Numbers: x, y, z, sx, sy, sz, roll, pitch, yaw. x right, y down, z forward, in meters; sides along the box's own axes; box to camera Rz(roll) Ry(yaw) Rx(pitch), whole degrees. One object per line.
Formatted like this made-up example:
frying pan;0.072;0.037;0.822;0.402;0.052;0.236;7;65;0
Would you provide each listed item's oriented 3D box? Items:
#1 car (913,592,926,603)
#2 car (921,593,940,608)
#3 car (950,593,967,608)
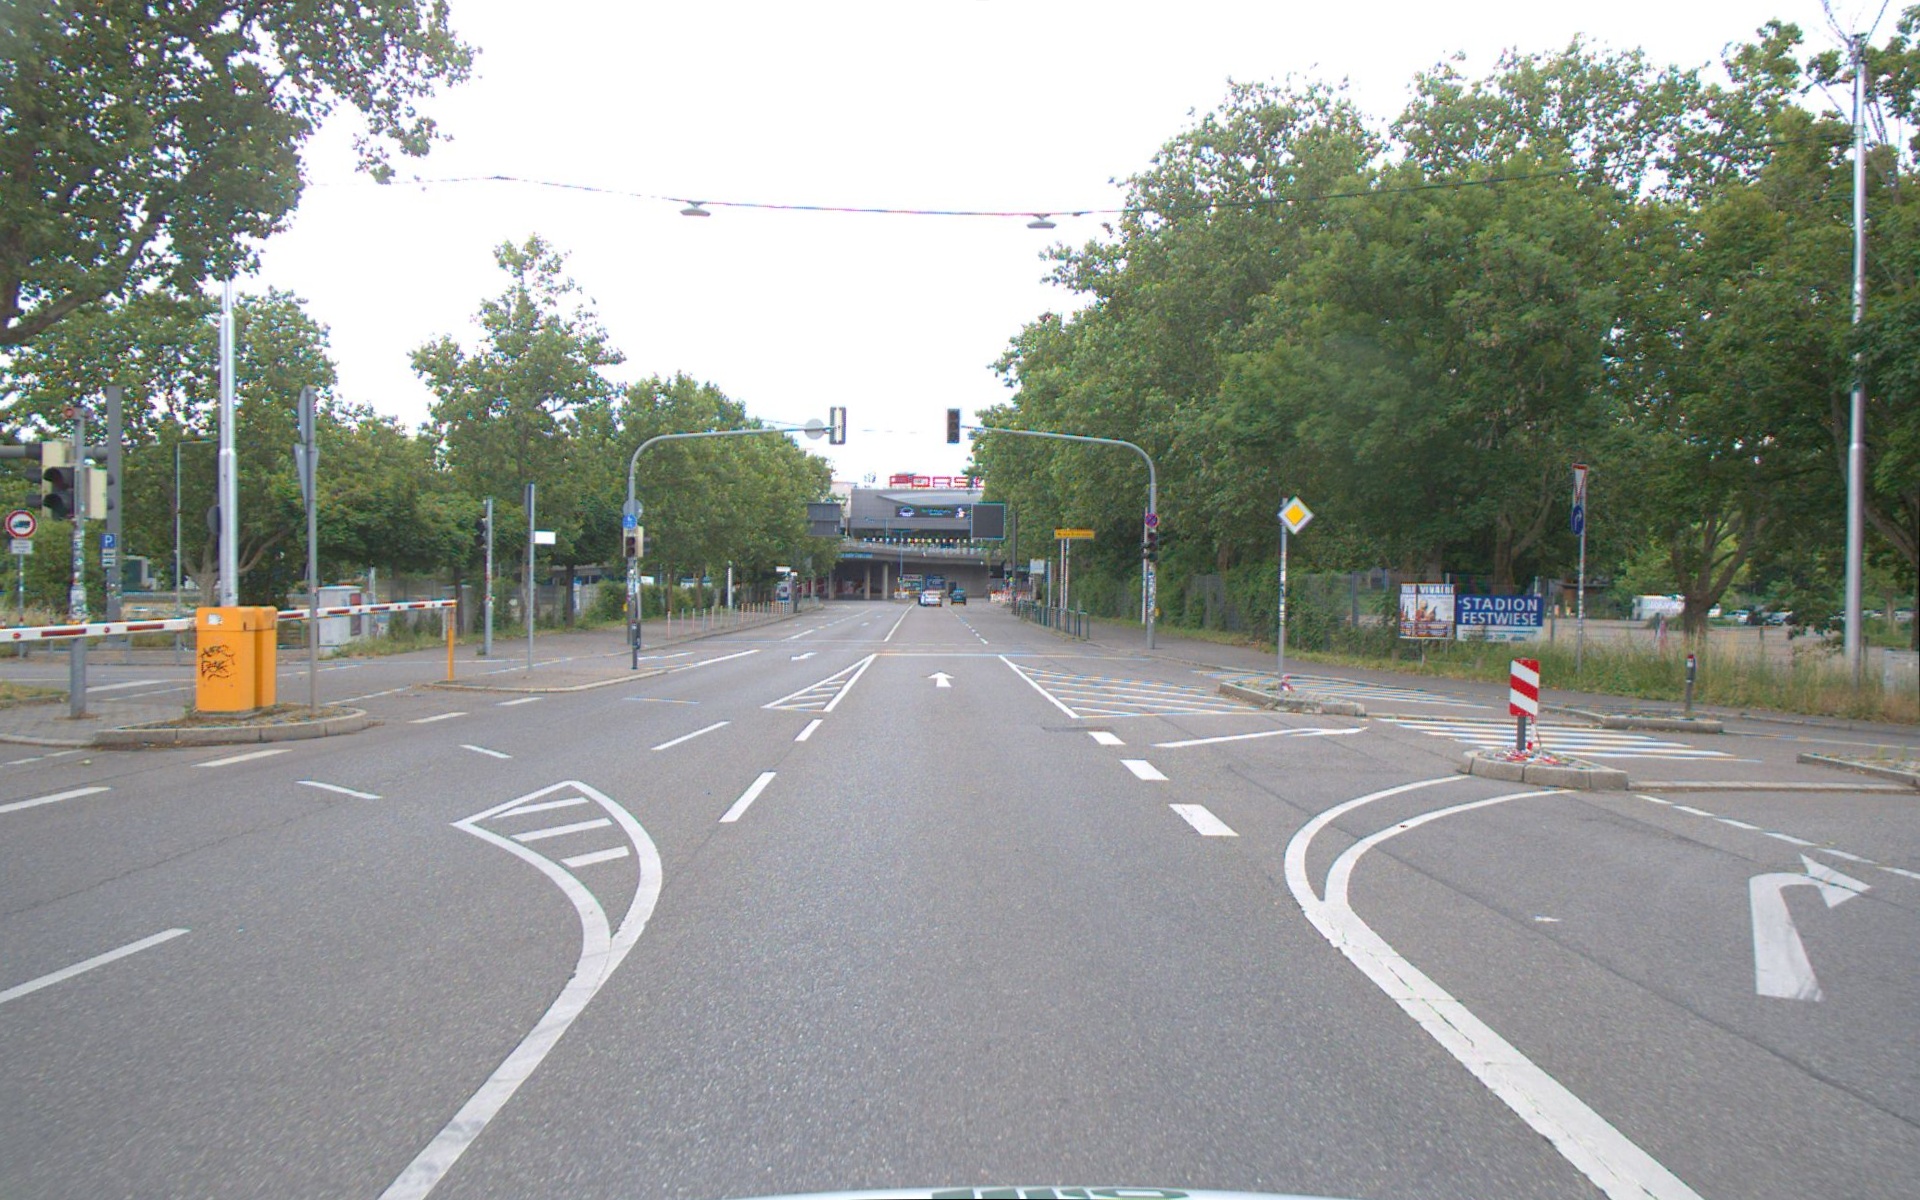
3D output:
car;-4.255;-0.287;173.853;1.382;1.132;3.037;1;0;-1
car;-2.924;0.034;165.071;1.742;1.486;3.822;2;0;0
car;-0.142;0.062;192.871;1.966;1.728;4.069;1;0;0
